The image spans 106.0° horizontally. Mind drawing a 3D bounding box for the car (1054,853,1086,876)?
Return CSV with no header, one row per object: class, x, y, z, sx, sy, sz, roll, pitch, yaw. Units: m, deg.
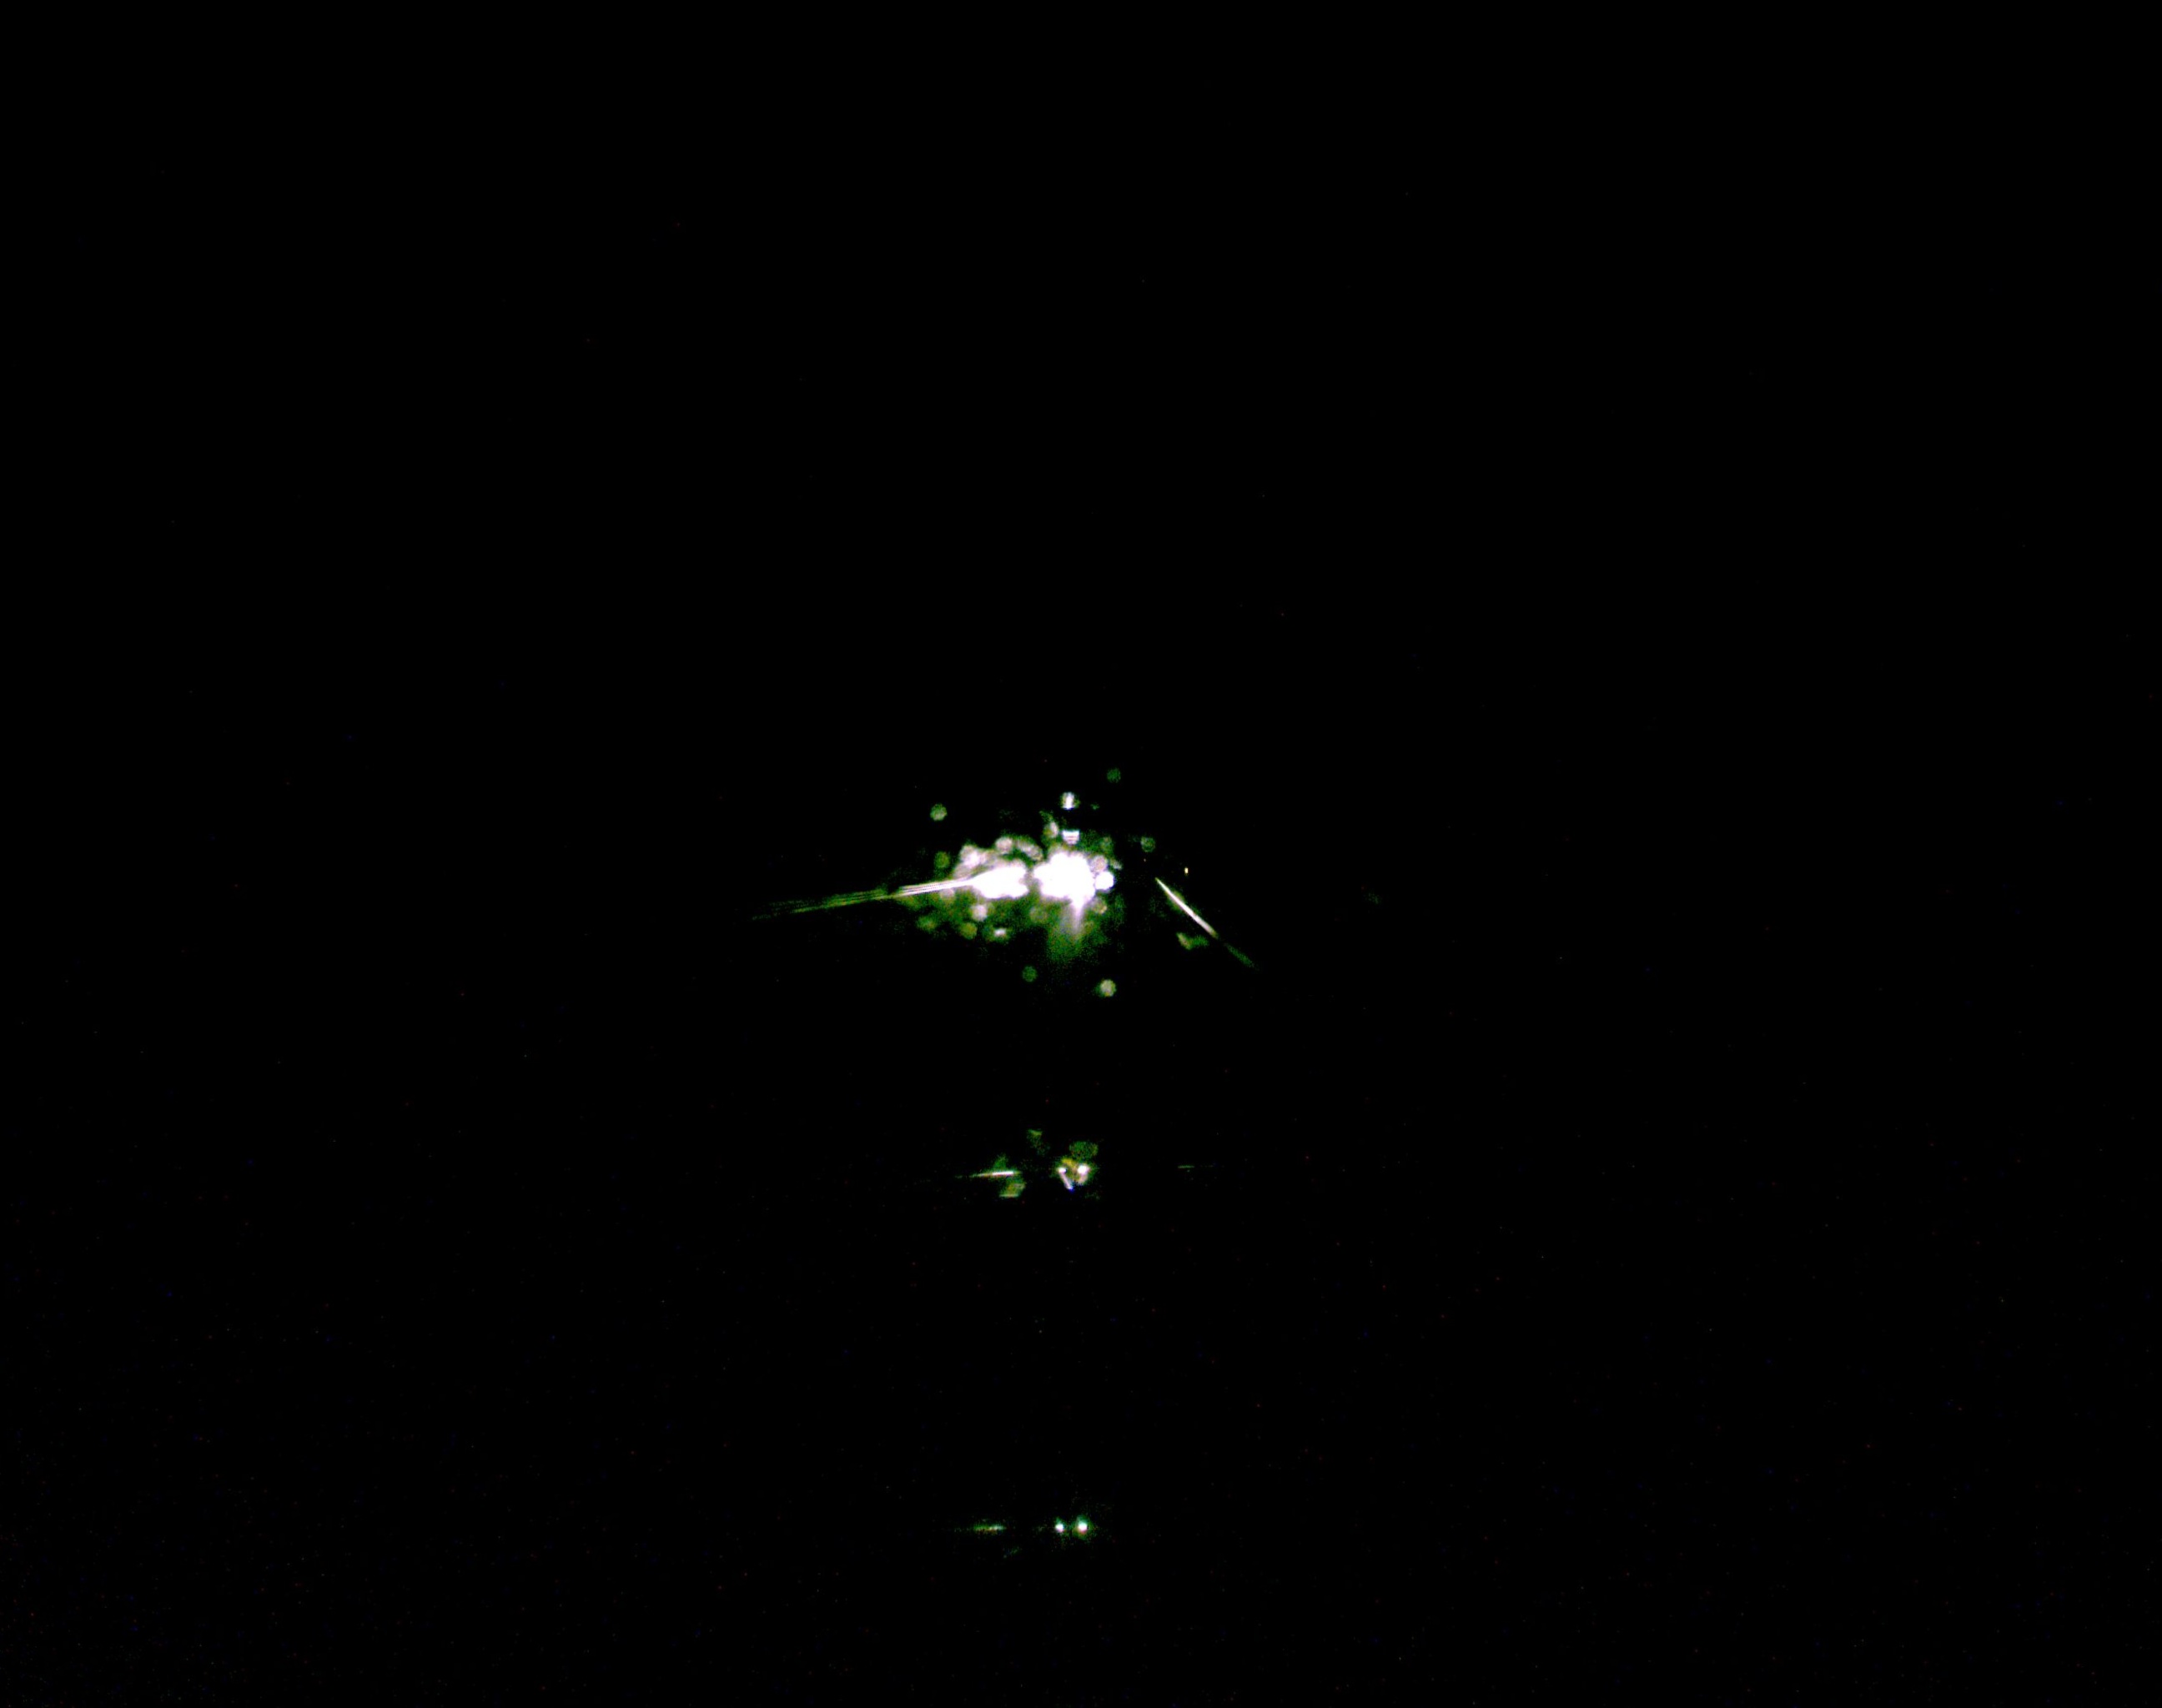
car,-0.722,0.721,57.254,1.909,1.464,4.263,-2,0,3
